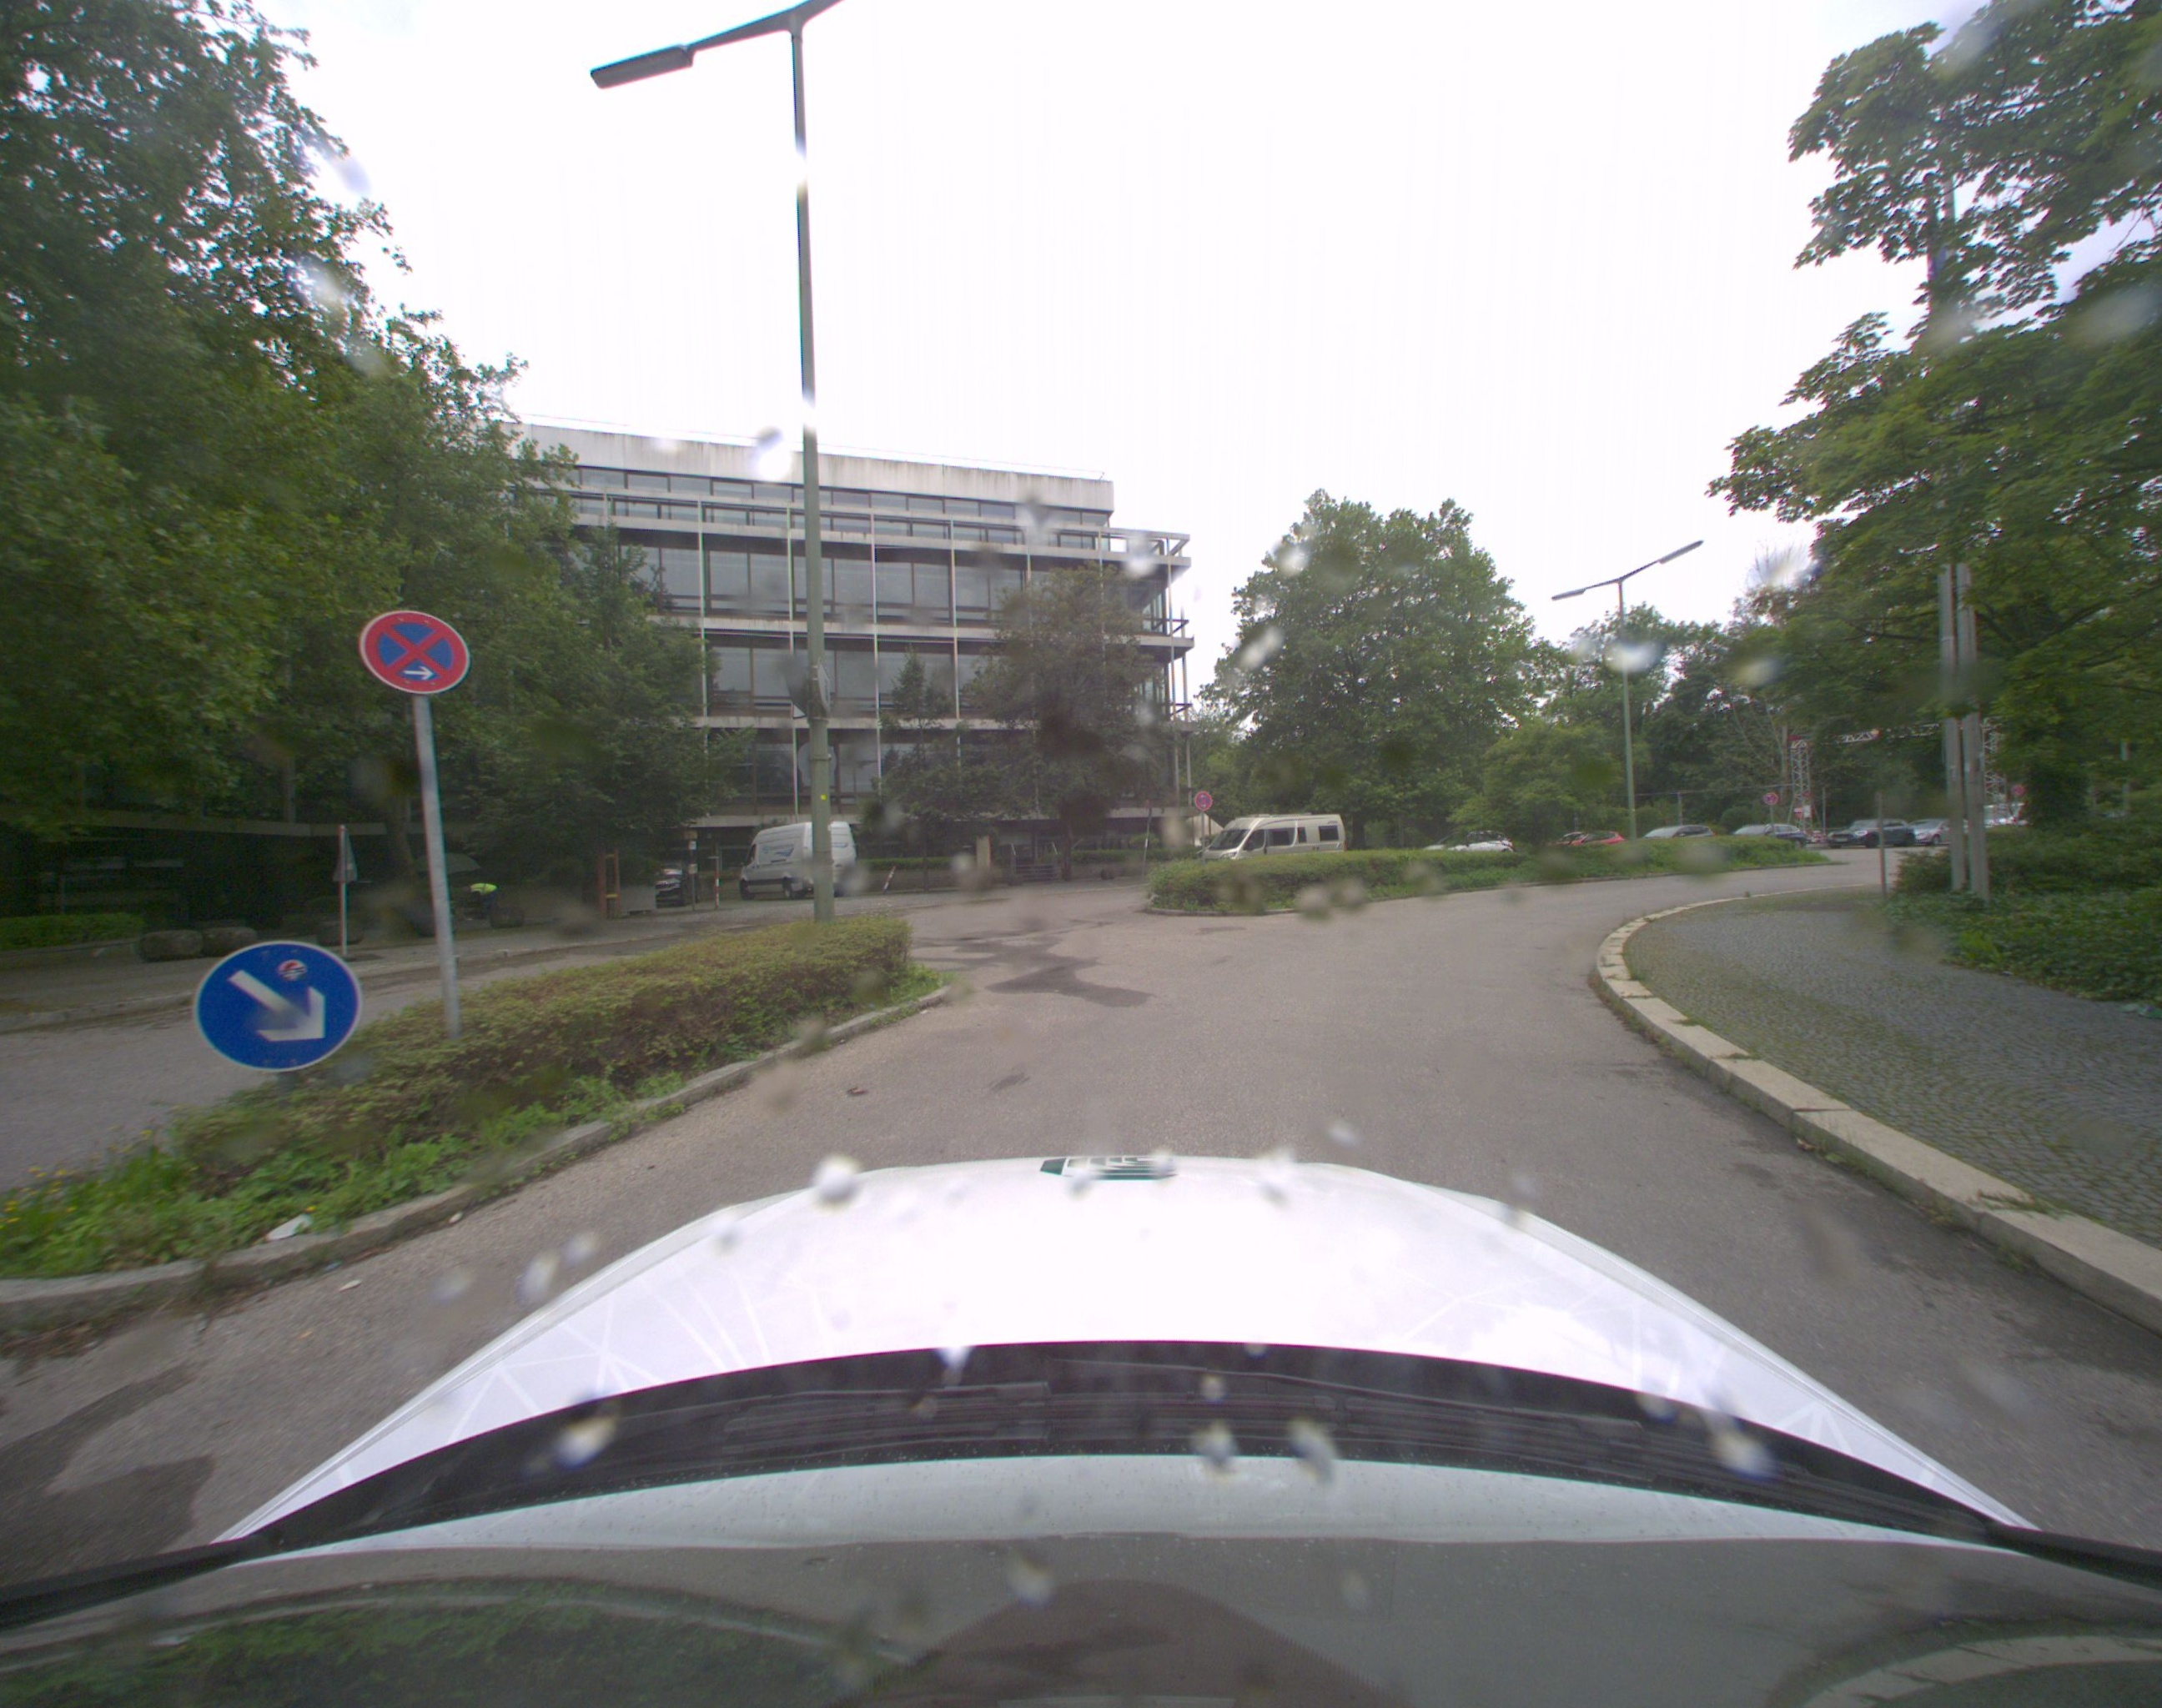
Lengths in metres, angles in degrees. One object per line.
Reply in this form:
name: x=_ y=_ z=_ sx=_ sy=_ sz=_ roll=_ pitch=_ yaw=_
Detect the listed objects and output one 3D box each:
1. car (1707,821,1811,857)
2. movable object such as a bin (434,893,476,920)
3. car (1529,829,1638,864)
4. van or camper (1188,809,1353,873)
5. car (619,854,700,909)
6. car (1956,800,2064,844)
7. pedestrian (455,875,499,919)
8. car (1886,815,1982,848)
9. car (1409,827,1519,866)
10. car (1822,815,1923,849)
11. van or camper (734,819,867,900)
car: x=33.421 y=-0.737 z=40.167 sx=3.994 sy=1.574 sz=1.990 roll=-2 pitch=0 yaw=-15
movable object such as a bin: x=-18.958 y=1.571 z=24.663 sx=0.835 sy=0.753 sz=0.570 roll=-1 pitch=0 yaw=-14
car: x=22.832 y=-0.341 z=37.063 sx=3.994 sy=1.409 sz=1.990 roll=-2 pitch=0 yaw=-15
van or camper: x=7.439 y=-0.533 z=31.700 sx=6.438 sy=2.281 sz=2.233 roll=-2 pitch=0 yaw=-30
car: x=-14.883 y=0.923 z=28.988 sx=1.948 sy=1.721 sz=4.210 roll=-2 pitch=0 yaw=-20
car: x=51.678 y=-1.793 z=45.313 sx=4.867 sy=2.227 sz=2.193 roll=-2 pitch=0 yaw=-18
pedestrian: x=-18.430 y=1.307 z=24.861 sx=0.927 sy=1.278 sz=0.539 roll=-1 pitch=0 yaw=-14
car: x=45.898 y=-1.221 z=43.844 sx=3.998 sy=1.574 sz=1.988 roll=-2 pitch=0 yaw=-18
car: x=16.665 y=-0.318 z=35.481 sx=3.994 sy=1.508 sz=1.990 roll=-2 pitch=0 yaw=-15
car: x=41.097 y=-1.128 z=42.315 sx=3.994 sy=1.574 sz=1.990 roll=-2 pitch=0 yaw=-15
van or camper: x=-10.301 y=0.302 z=29.516 sx=2.175 sy=2.580 sz=6.460 roll=-1 pitch=-2 yaw=-42
